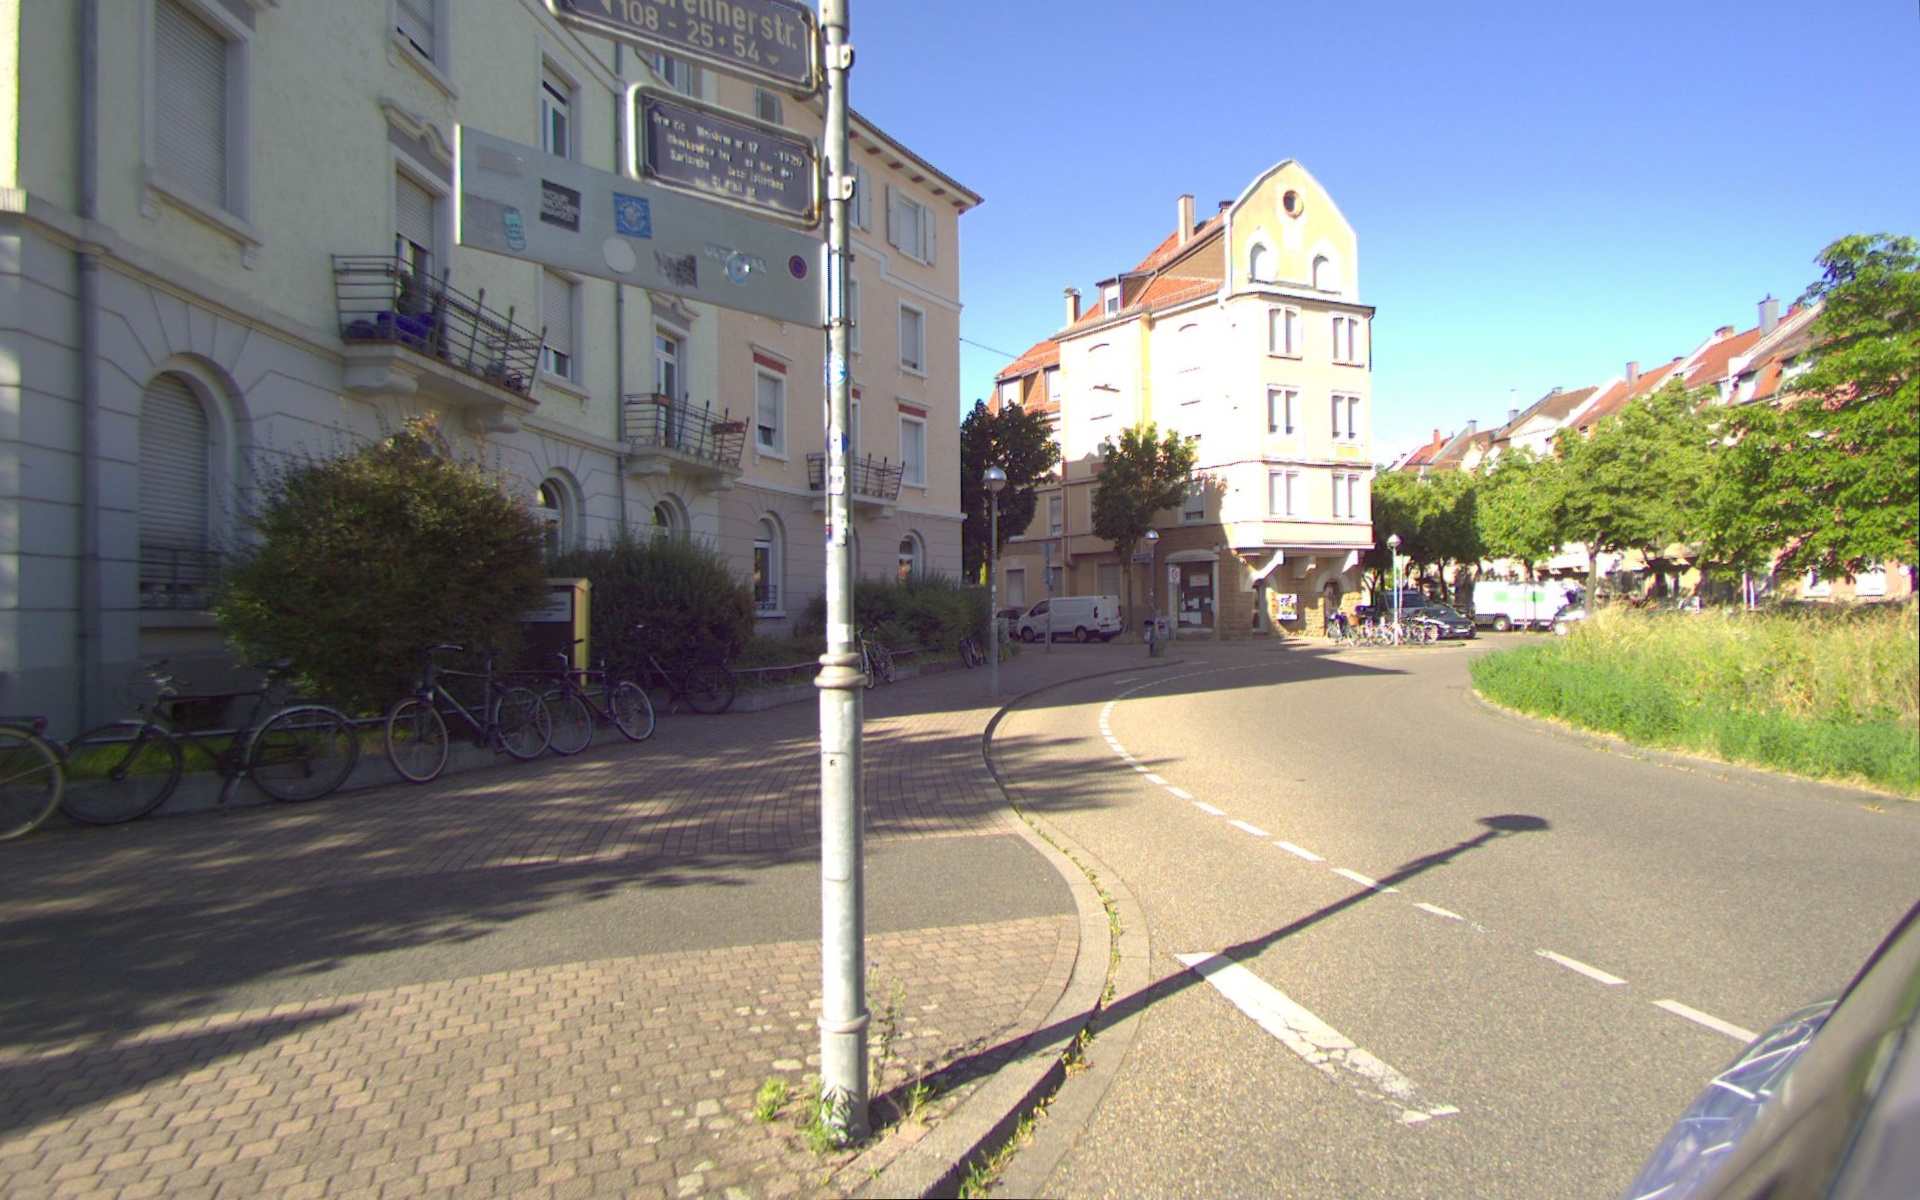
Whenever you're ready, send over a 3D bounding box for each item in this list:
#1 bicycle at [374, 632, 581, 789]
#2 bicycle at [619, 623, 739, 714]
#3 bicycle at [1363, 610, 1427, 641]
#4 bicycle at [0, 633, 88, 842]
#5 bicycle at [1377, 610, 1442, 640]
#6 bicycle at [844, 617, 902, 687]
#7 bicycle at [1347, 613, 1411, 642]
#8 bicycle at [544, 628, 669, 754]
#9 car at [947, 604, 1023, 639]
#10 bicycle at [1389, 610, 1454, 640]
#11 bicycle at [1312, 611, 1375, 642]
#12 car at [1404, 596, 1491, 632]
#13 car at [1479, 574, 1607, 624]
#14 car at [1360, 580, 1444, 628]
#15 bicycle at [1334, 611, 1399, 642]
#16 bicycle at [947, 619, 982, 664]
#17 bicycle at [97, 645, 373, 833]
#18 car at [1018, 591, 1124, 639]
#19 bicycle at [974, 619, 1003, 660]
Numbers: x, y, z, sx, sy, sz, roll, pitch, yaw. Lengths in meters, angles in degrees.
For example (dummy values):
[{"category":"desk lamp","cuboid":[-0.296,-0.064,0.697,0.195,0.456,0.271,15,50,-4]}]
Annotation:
[{"category":"bicycle","cuboid":[-4.095,0.885,8.737,0.439,1.163,1.765,-1,-1,23]},{"category":"bicycle","cuboid":[-3.742,0.908,13.509,1.485,1.169,0.435,-1,-1,6]},{"category":"bicycle","cuboid":[15.808,0.912,36.859,0.640,1.066,2.371,0,-1,-23]},{"category":"bicycle","cuboid":[-6.265,0.858,6.101,1.474,1.254,0.326,-1,0,-31]},{"category":"bicycle","cuboid":[16.456,0.910,37.097,0.640,1.066,2.371,-1,-1,-23]},{"category":"bicycle","cuboid":[-1.534,0.903,18.095,0.430,1.169,1.660,1,0,17]},{"category":"bicycle","cuboid":[15.129,0.980,36.613,0.640,1.028,2.371,1,-1,-23]},{"category":"bicycle","cuboid":[-3.601,0.888,10.439,0.361,1.163,1.630,-1,-1,15]},{"category":"car","cuboid":[1.152,1.002,47.900,1.658,1.596,3.539,0,-1,-39]},{"category":"bicycle","cuboid":[17.063,0.920,37.520,0.640,1.066,2.371,-1,-1,-23]},{"category":"bicycle","cuboid":[13.627,0.928,36.041,0.640,1.066,2.371,3,-2,-23]},{"category":"car","cuboid":[21.039,0.603,43.872,1.964,1.461,3.995,-1,0,4]},{"category":"car","cuboid":[29.078,-0.018,50.644,2.004,2.392,5.179,0,-1,-44]},{"category":"car","cuboid":[21.353,0.200,49.123,2.214,2.146,4.794,-1,-1,5]},{"category":"bicycle","cuboid":[14.529,0.946,36.238,0.640,1.066,2.371,-1,-1,-23]},{"category":"bicycle","cuboid":[0.128,0.982,24.310,0.373,1.008,1.381,-1,-1,21]},{"category":"bicycle","cuboid":[-5.089,0.922,7.181,0.350,1.117,1.546,-2,0,45]},{"category":"car","cuboid":[4.773,0.654,44.083,1.867,1.966,4.437,0,-1,-44]},{"category":"bicycle","cuboid":[0.754,1.004,26.200,0.373,1.008,1.383,-1,-1,18]}]
